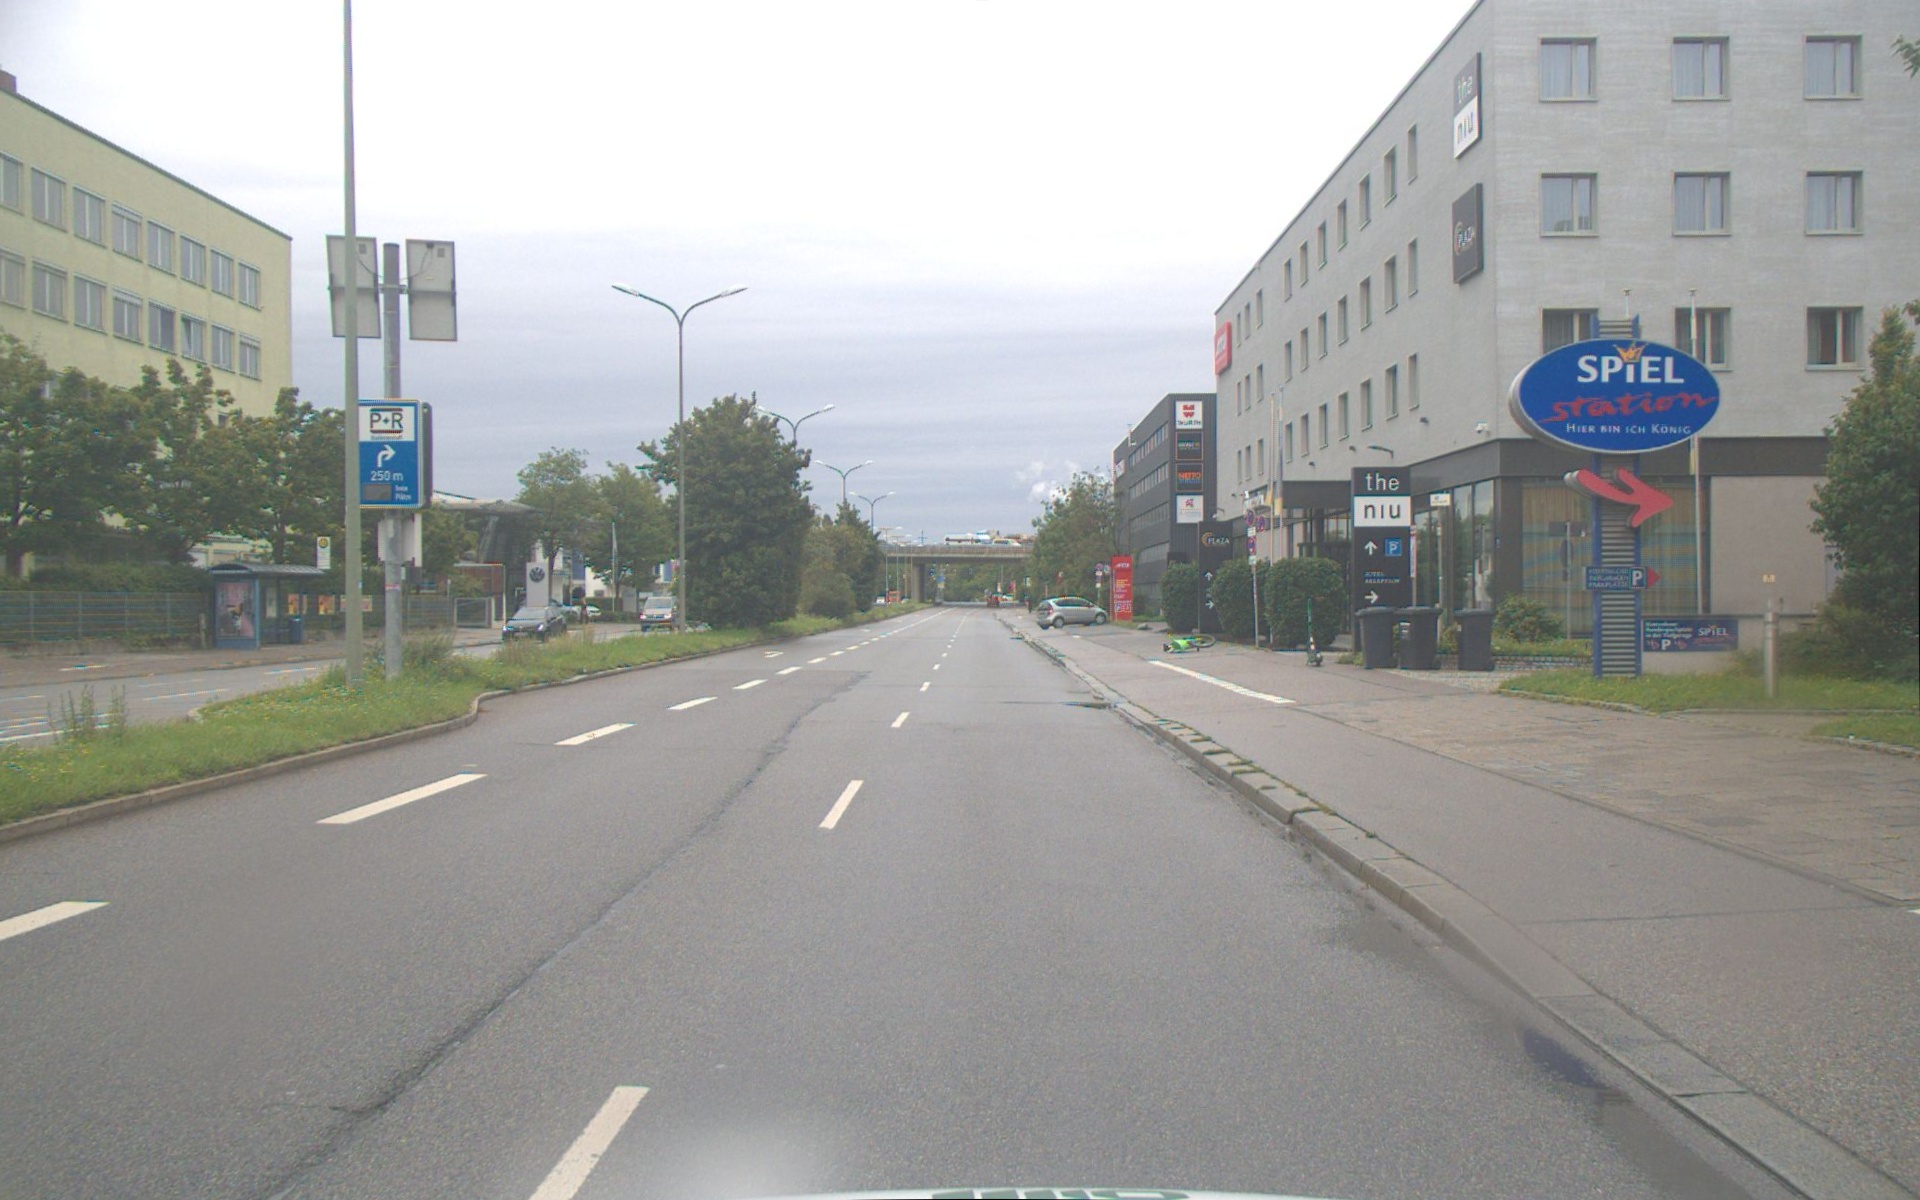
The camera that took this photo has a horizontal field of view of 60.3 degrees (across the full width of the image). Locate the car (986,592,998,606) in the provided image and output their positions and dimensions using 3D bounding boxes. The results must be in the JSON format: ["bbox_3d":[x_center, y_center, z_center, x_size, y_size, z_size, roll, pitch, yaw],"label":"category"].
[{"bbox_3d":[4.797,-0.151,245.879,1.774,2.049,3.834,1,0,2],"label":"car"}]

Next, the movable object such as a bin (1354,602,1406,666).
[{"bbox_3d":[7.400,0.590,29.163,0.722,1.097,0.655,-2,0,1],"label":"movable object such as a bin"}]

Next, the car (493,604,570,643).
[{"bbox_3d":[-17.326,0.924,67.097,1.953,1.426,4.654,-2,0,-1],"label":"car"}]

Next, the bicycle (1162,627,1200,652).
[{"bbox_3d":[5.581,0.990,41.910,0.705,0.558,1.732,-4,0,0],"label":"bicycle"}]

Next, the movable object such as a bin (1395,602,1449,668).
[{"bbox_3d":[7.953,0.598,28.509,0.722,1.097,0.655,-2,0,1],"label":"movable object such as a bin"}]

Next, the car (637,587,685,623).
[{"bbox_3d":[-17.388,0.289,96.361,1.953,1.995,4.324,-2,0,-1],"label":"car"}]

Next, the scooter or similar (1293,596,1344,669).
[{"bbox_3d":[6.766,0.592,31.262,0.574,1.299,1.404,-5,0,1],"label":"scooter or similar"}]

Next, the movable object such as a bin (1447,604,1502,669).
[{"bbox_3d":[8.909,0.622,28.671,0.722,1.097,0.655,-2,0,1],"label":"movable object such as a bin"}]

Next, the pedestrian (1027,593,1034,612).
[{"bbox_3d":[7.236,0.219,170.433,0.674,1.909,0.662,-2,0,0],"label":"pedestrian"}]

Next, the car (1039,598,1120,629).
[{"bbox_3d":[6.333,0.702,87.793,3.969,1.585,1.803,0,0,-29],"label":"car"}]

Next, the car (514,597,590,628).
[{"bbox_3d":[-26.623,0.832,107.950,4.568,1.874,1.788,-2,0,-23],"label":"car"}]

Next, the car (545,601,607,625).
[{"bbox_3d":[-27.138,0.940,116.762,3.905,1.535,1.801,-2,0,22],"label":"car"}]
